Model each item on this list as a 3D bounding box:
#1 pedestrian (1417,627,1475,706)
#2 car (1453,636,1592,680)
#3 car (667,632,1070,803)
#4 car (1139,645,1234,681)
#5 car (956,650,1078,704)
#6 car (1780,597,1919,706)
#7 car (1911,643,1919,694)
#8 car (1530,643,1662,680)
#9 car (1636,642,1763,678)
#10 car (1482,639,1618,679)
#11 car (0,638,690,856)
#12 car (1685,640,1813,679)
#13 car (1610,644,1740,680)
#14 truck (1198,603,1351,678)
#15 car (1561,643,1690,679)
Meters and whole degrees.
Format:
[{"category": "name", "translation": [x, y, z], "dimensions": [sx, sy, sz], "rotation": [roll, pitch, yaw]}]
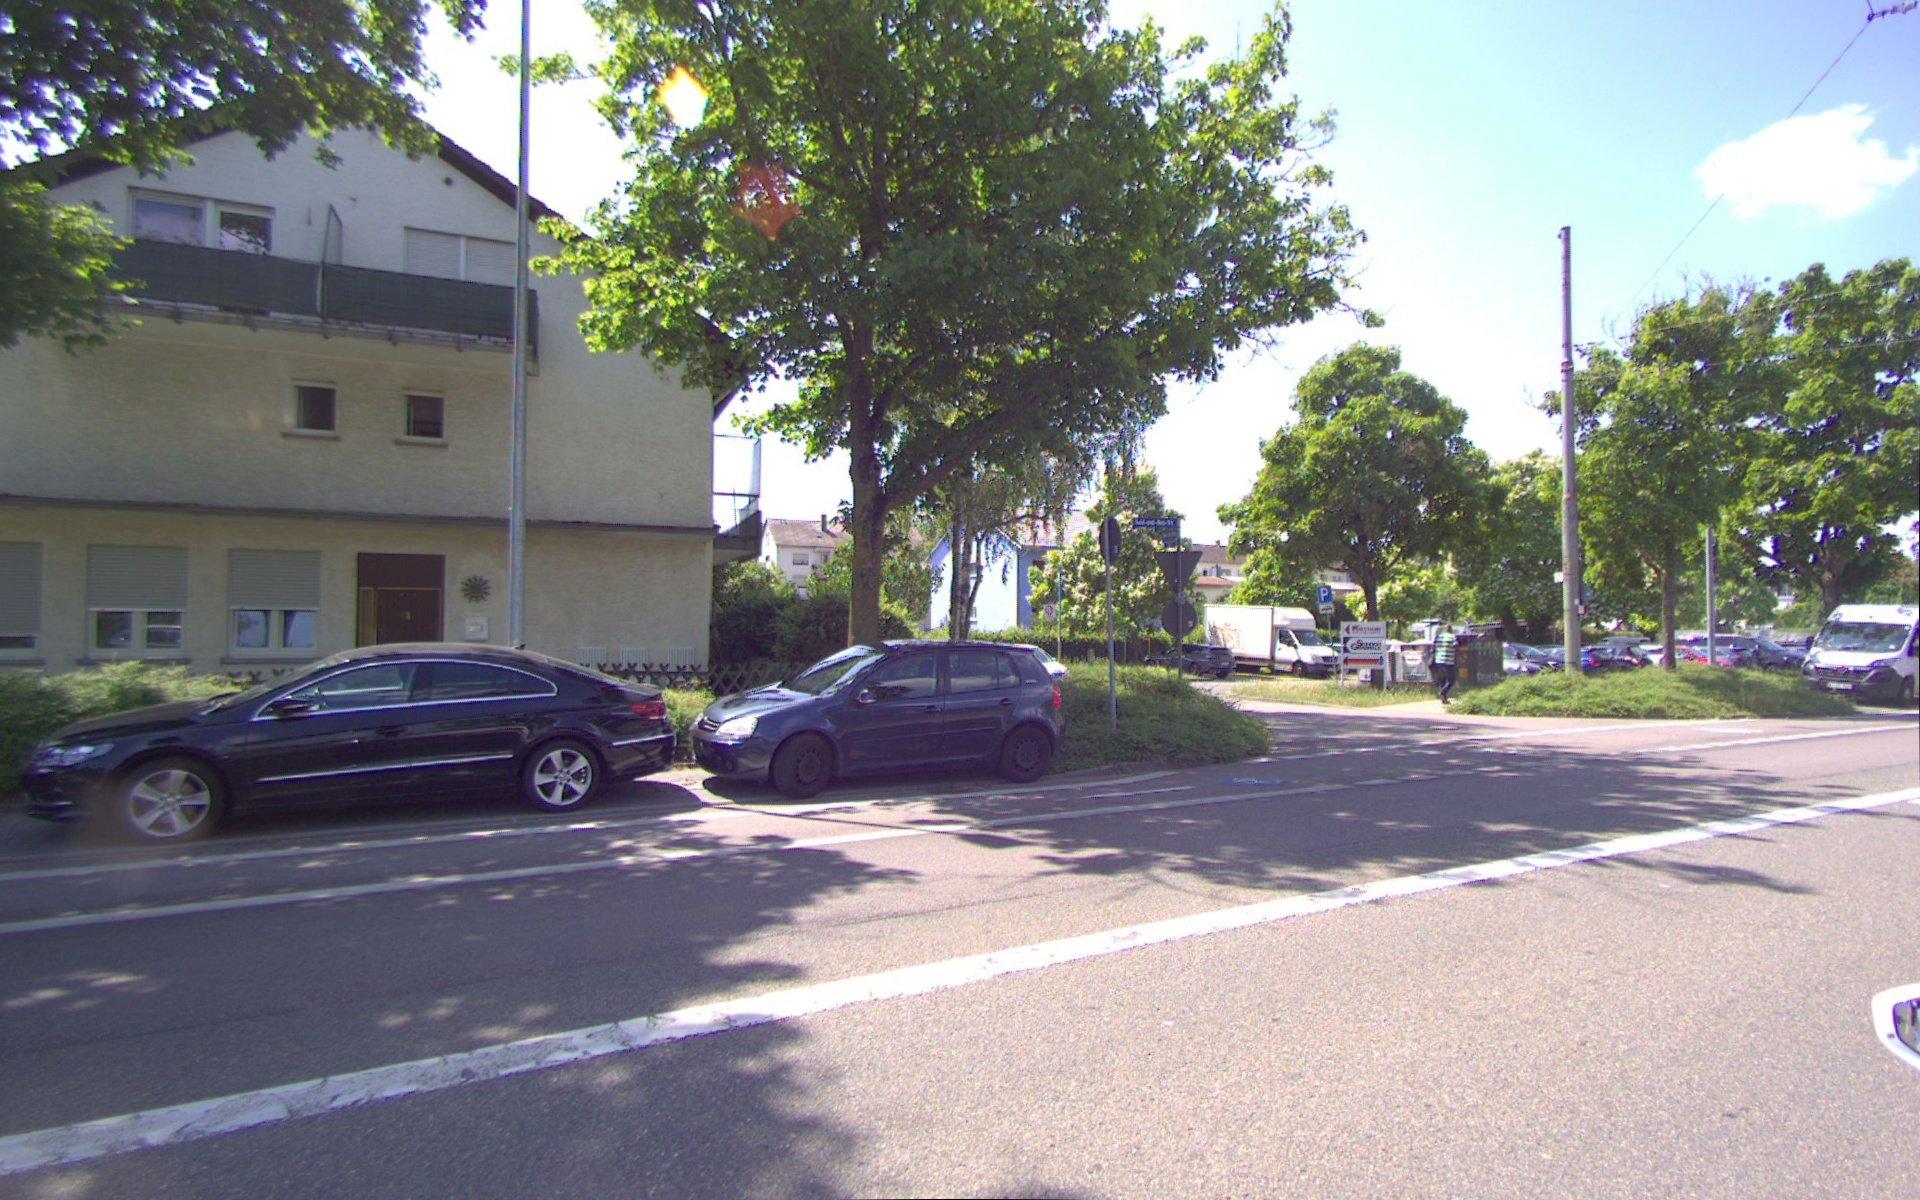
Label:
[{"category": "pedestrian", "translation": [11.572, 1.564, 23.940], "dimensions": [0.786, 1.847, 0.969], "rotation": [1, -2, -33]}, {"category": "car", "translation": [19.830, 2.021, 35.576], "dimensions": [1.784, 1.461, 3.968], "rotation": [1, -2, -30]}, {"category": "car", "translation": [-0.941, 1.137, 10.918], "dimensions": [4.000, 1.500, 1.766], "rotation": [1, 0, -31]}, {"category": "car", "translation": [9.609, 2.653, 42.857], "dimensions": [1.753, 1.417, 3.967], "rotation": [1, -3, -31]}, {"category": "car", "translation": [1.553, 2.140, 28.716], "dimensions": [1.787, 1.376, 3.974], "rotation": [1, -2, -26]}, {"category": "car", "translation": [24.251, 1.281, 26.224], "dimensions": [6.115, 2.520, 2.148], "rotation": [1, 1, -28]}, {"category": "car", "translation": [29.661, 1.995, 29.118], "dimensions": [4.291, 1.456, 1.860], "rotation": [1, -2, -30]}, {"category": "car", "translation": [24.589, 2.339, 38.970], "dimensions": [1.784, 1.357, 3.968], "rotation": [1, -2, -30]}, {"category": "car", "translation": [31.292, 2.511, 42.617], "dimensions": [1.784, 1.461, 3.968], "rotation": [1, -3, -30]}, {"category": "car", "translation": [21.714, 2.140, 37.110], "dimensions": [1.784, 1.357, 3.968], "rotation": [1, -2, -30]}, {"category": "car", "translation": [-4.906, 1.063, 8.708], "dimensions": [4.645, 1.391, 1.765], "rotation": [1, 0, -32]}, {"category": "car", "translation": [34.070, 2.532, 43.468], "dimensions": [1.784, 1.627, 3.968], "rotation": [1, -2, -30]}, {"category": "car", "translation": [29.241, 2.493, 41.184], "dimensions": [1.784, 1.357, 3.968], "rotation": [1, -2, -30]}, {"category": "truck", "translation": [14.592, 1.887, 47.194], "dimensions": [2.306, 3.270, 7.149], "rotation": [1, -2, -31]}, {"category": "car", "translation": [26.739, 2.412, 40.463], "dimensions": [1.784, 1.357, 3.968], "rotation": [1, -2, -30]}]
